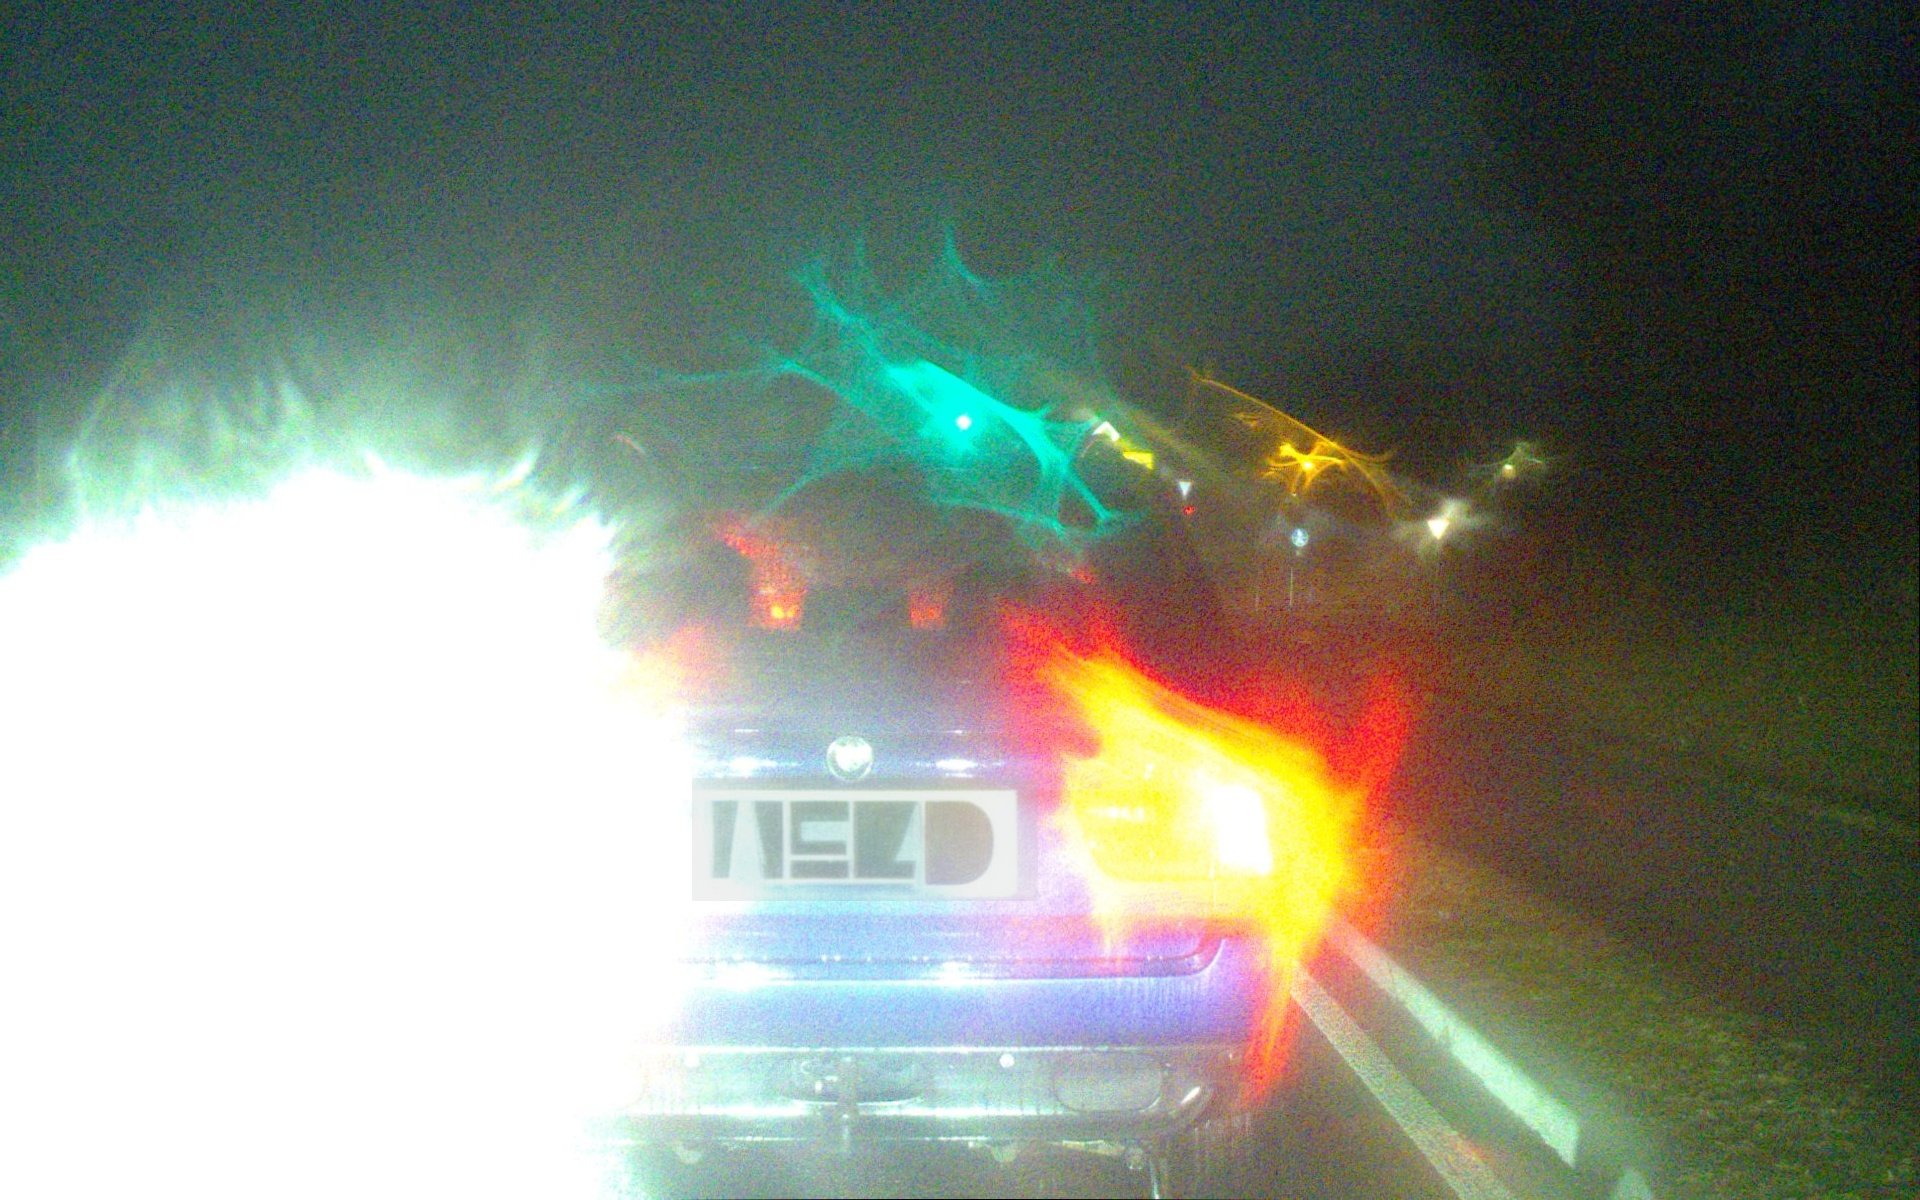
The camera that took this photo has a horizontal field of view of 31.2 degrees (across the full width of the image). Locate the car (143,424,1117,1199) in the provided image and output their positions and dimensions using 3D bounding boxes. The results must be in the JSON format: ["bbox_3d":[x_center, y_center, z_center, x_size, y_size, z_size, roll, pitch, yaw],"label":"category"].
[{"bbox_3d":[-0.612,0.524,8.312,1.775,1.706,4.000,1,0,0],"label":"car"}]

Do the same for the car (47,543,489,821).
[{"bbox_3d":[-4.113,0.419,21.112,1.903,1.465,4.275,2,1,-1],"label":"car"}]
